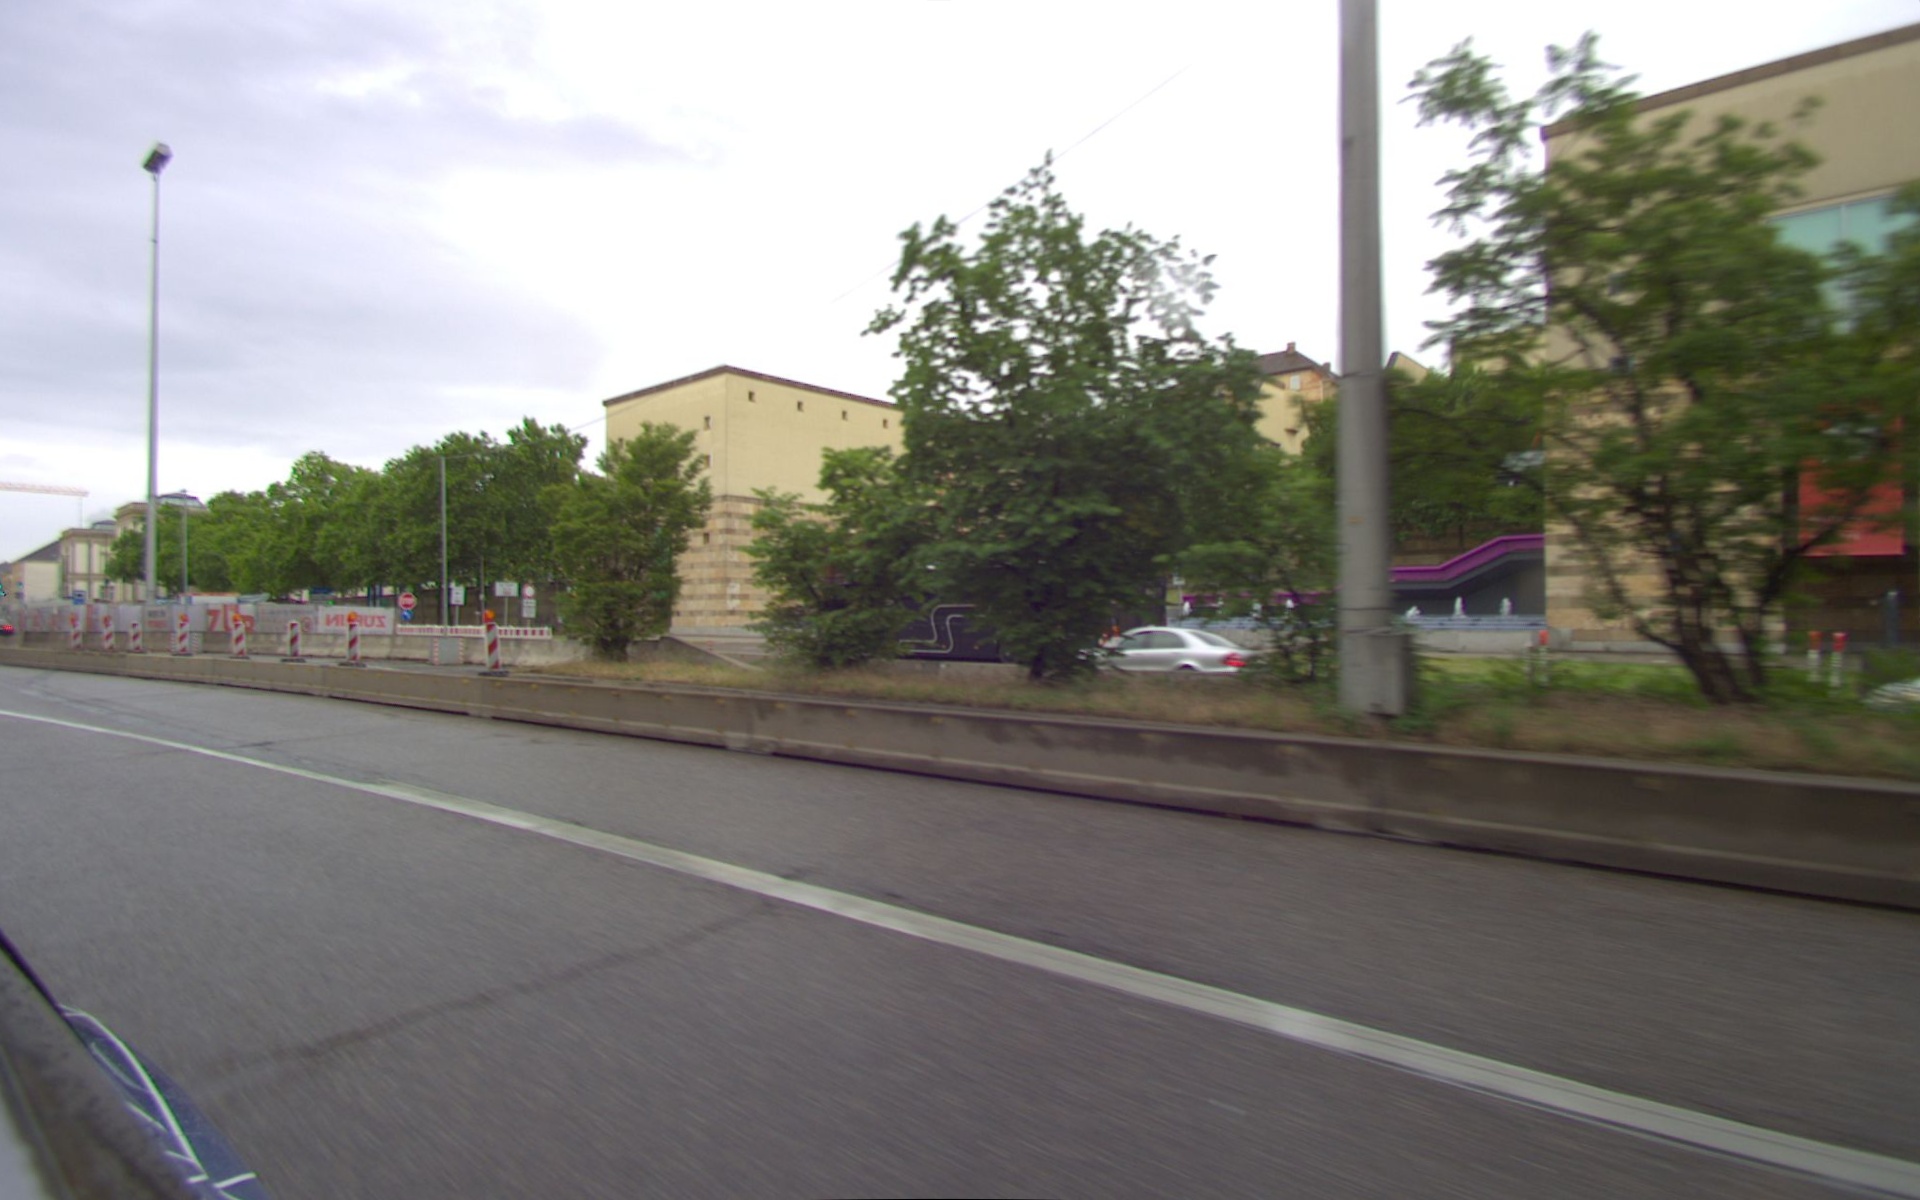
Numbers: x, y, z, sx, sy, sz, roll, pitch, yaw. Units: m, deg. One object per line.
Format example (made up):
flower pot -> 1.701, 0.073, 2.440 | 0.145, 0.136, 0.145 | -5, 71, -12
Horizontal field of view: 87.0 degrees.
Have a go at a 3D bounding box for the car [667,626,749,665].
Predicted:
car -> -10.242, 1.819, 41.027 | 3.210, 1.512, 1.576 | -1, -2, 38

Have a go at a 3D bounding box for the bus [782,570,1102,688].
bus -> -1.331, 1.058, 38.856 | 14.602, 3.840, 2.772 | -2, 0, 45

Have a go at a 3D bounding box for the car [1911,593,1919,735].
car -> 11.787, 0.651, 9.600 | 3.929, 1.519, 1.529 | -2, -1, 41

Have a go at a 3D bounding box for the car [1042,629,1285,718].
car -> 4.270, 1.489, 21.731 | 4.808, 1.637, 1.972 | 0, -2, 43
